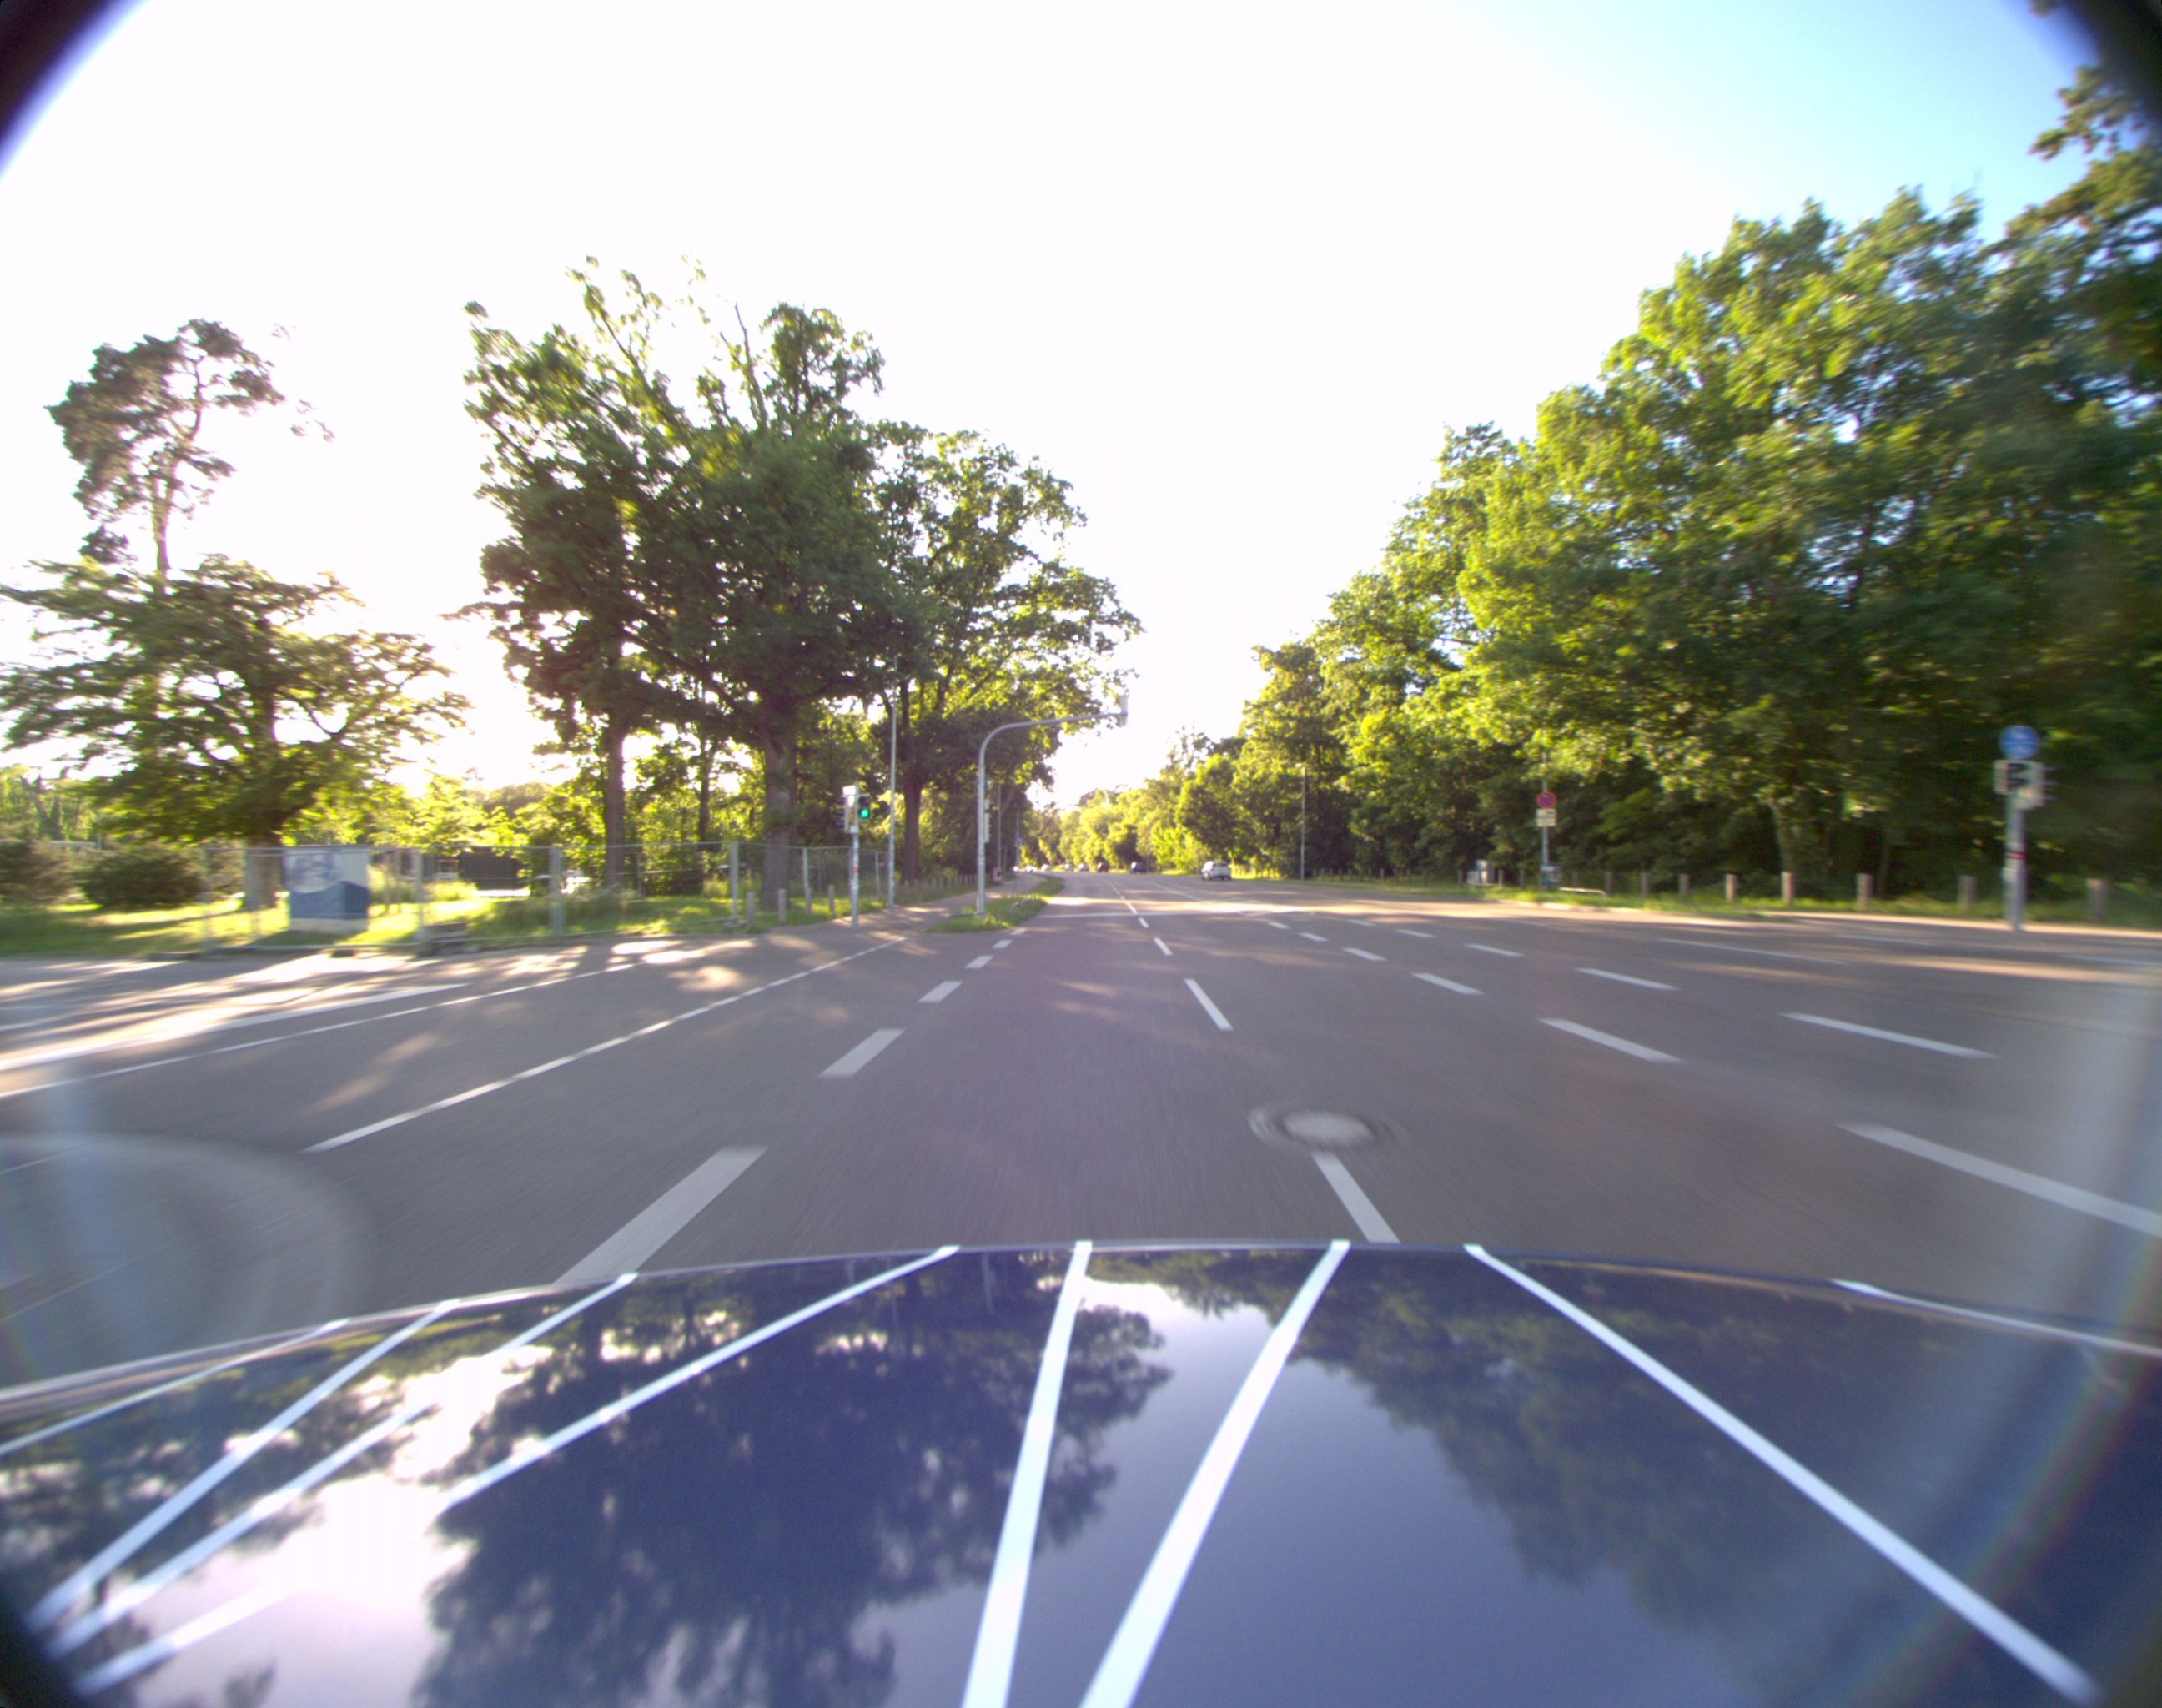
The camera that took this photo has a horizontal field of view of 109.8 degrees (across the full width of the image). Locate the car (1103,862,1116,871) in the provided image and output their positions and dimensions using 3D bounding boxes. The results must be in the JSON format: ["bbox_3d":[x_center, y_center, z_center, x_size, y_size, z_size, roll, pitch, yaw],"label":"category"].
[{"bbox_3d":[4.923,2.136,133.040,1.668,1.509,3.805,0,-1,-8],"label":"car"}]

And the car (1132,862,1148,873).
[{"bbox_3d":[7.861,1.843,101.396,1.660,1.499,4.000,0,-1,-3],"label":"car"}]

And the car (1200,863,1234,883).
[{"bbox_3d":[10.484,1.488,58.968,1.715,1.455,4.100,-2,-1,-2],"label":"car"}]

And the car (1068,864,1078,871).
[{"bbox_3d":[-1.736,3.007,173.342,1.785,1.455,4.272,-2,-1,-7],"label":"car"}]

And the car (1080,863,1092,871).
[{"bbox_3d":[0.990,2.627,154.102,1.789,1.513,4.395,0,-1,-10],"label":"car"}]

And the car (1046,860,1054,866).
[{"bbox_3d":[-8.428,2.441,207.616,1.785,1.399,4.163,0,-2,-9],"label":"car"}]
